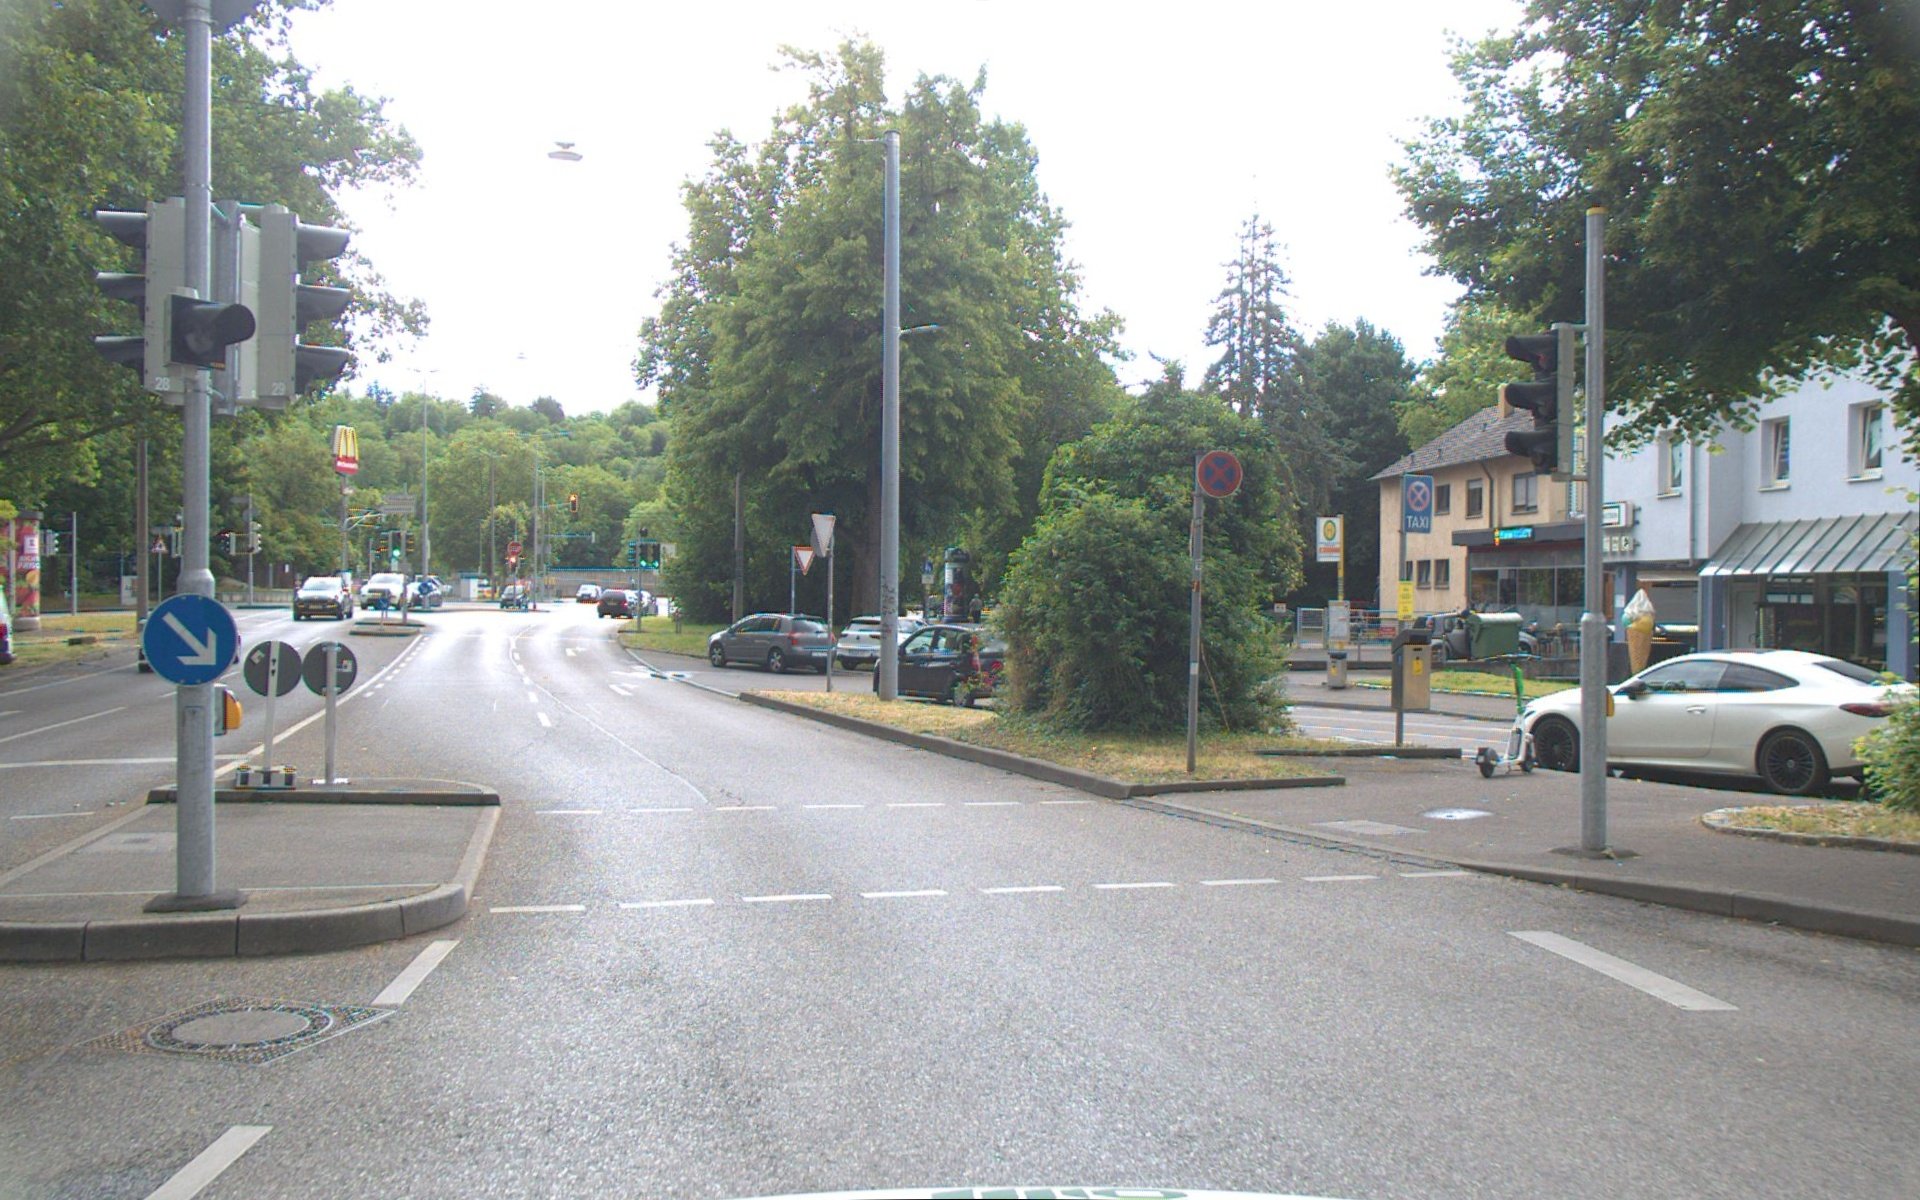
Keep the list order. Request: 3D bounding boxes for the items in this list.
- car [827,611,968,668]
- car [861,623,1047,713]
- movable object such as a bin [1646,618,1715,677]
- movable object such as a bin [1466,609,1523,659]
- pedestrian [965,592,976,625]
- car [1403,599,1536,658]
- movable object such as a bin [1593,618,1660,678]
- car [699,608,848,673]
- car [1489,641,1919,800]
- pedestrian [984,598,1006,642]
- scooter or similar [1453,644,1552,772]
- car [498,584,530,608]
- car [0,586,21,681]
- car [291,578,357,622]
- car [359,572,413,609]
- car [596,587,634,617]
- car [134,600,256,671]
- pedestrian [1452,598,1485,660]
[{"bbox_3d":[-1.640,1.038,45.065,1.728,1.405,4.250,1,0,33],"label":"car"},{"bbox_3d":[-0.159,1.191,30.114,1.559,1.428,3.443,0,1,-40],"label":"car"},{"bbox_3d":[17.784,1.162,40.848,1.189,1.419,1.161,0,0,-1],"label":"movable object such as a bin"},{"bbox_3d":[14.841,0.926,45.964,1.194,1.368,0.993,0,0,-10],"label":"movable object such as a bin"},{"bbox_3d":[0.484,0.397,78.085,0.500,1.558,0.778,1,0,-1],"label":"pedestrian"},{"bbox_3d":[14.753,0.817,47.982,3.346,1.659,1.623,0,0,-4],"label":"car"},{"bbox_3d":[16.453,1.168,40.841,1.189,1.441,1.094,0,0,-1],"label":"movable object such as a bin"},{"bbox_3d":[-4.906,1.020,43.082,1.721,1.454,4.045,0,2,-45],"label":"car"},{"bbox_3d":[8.410,1.203,18.240,1.976,1.411,4.730,0,0,-34],"label":"car"},{"bbox_3d":[1.273,0.718,60.129,0.671,1.578,0.741,0,0,-11],"label":"pedestrian"},{"bbox_3d":[5.313,1.047,16.167,0.405,1.187,1.355,1,-2,41],"label":"scooter or similar"},{"bbox_3d":[-31.162,-0.289,115.544,1.537,1.553,3.187,0,2,-3],"label":"car"},{"bbox_3d":[-22.545,0.780,34.349,5.170,1.964,2.064,-2,1,-29],"label":"car"},{"bbox_3d":[-25.463,-0.034,66.343,1.765,1.614,4.402,-2,2,-12],"label":"car"},{"bbox_3d":[-28.579,-0.496,82.514,1.877,1.794,4.740,0,1,-11],"label":"car"},{"bbox_3d":[-18.262,0.083,87.745,1.789,1.536,4.563,0,0,-10],"label":"car"},{"bbox_3d":[-17.405,0.780,37.805,1.732,1.492,4.008,-1,0,-13],"label":"car"},{"bbox_3d":[14.486,0.817,47.127,0.674,1.760,0.610,0,-1,-11],"label":"pedestrian"}]
